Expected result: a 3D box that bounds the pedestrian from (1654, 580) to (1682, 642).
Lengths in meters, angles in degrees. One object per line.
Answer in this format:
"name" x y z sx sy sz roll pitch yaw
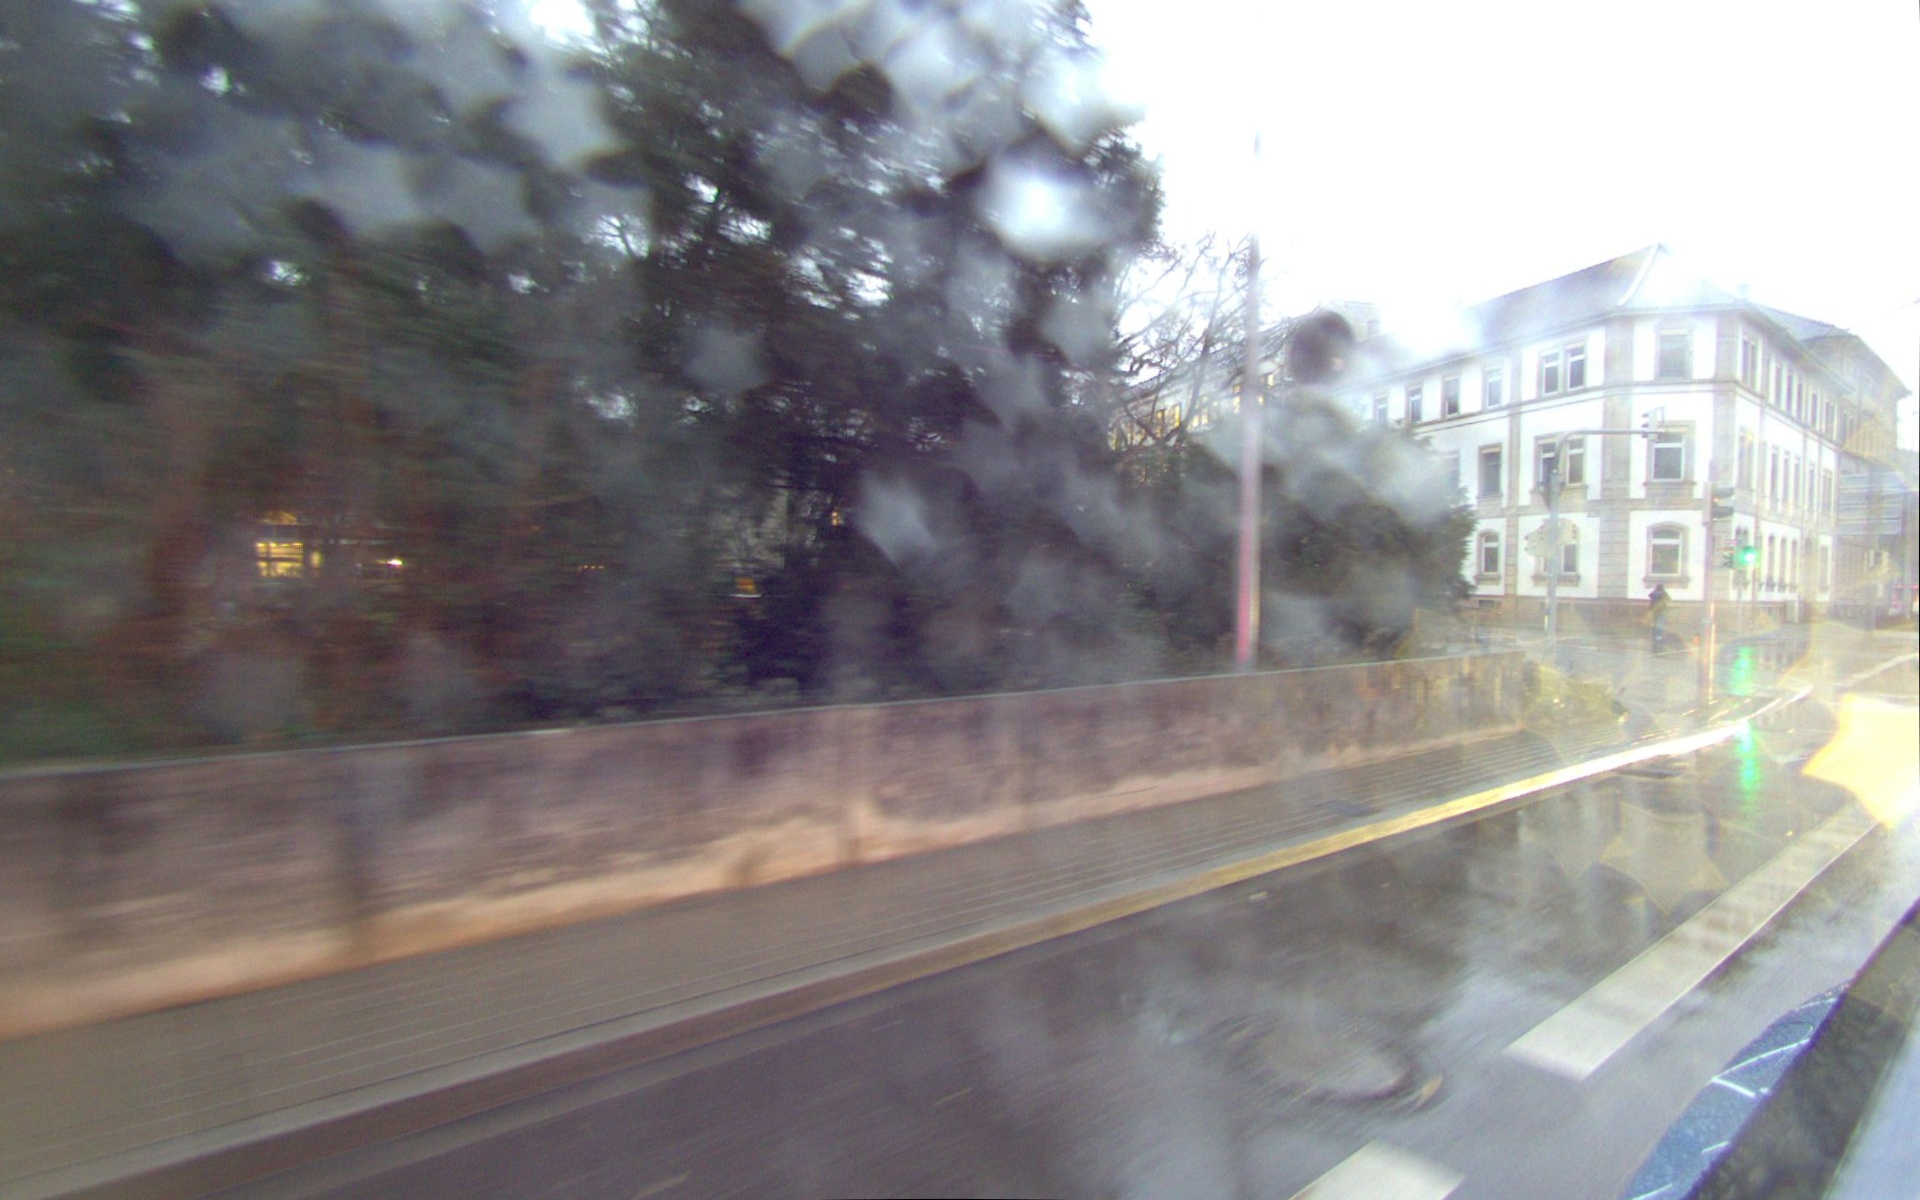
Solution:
"pedestrian" 22.085 0.334 31.586 0.669 1.903 0.707 0 0 31
